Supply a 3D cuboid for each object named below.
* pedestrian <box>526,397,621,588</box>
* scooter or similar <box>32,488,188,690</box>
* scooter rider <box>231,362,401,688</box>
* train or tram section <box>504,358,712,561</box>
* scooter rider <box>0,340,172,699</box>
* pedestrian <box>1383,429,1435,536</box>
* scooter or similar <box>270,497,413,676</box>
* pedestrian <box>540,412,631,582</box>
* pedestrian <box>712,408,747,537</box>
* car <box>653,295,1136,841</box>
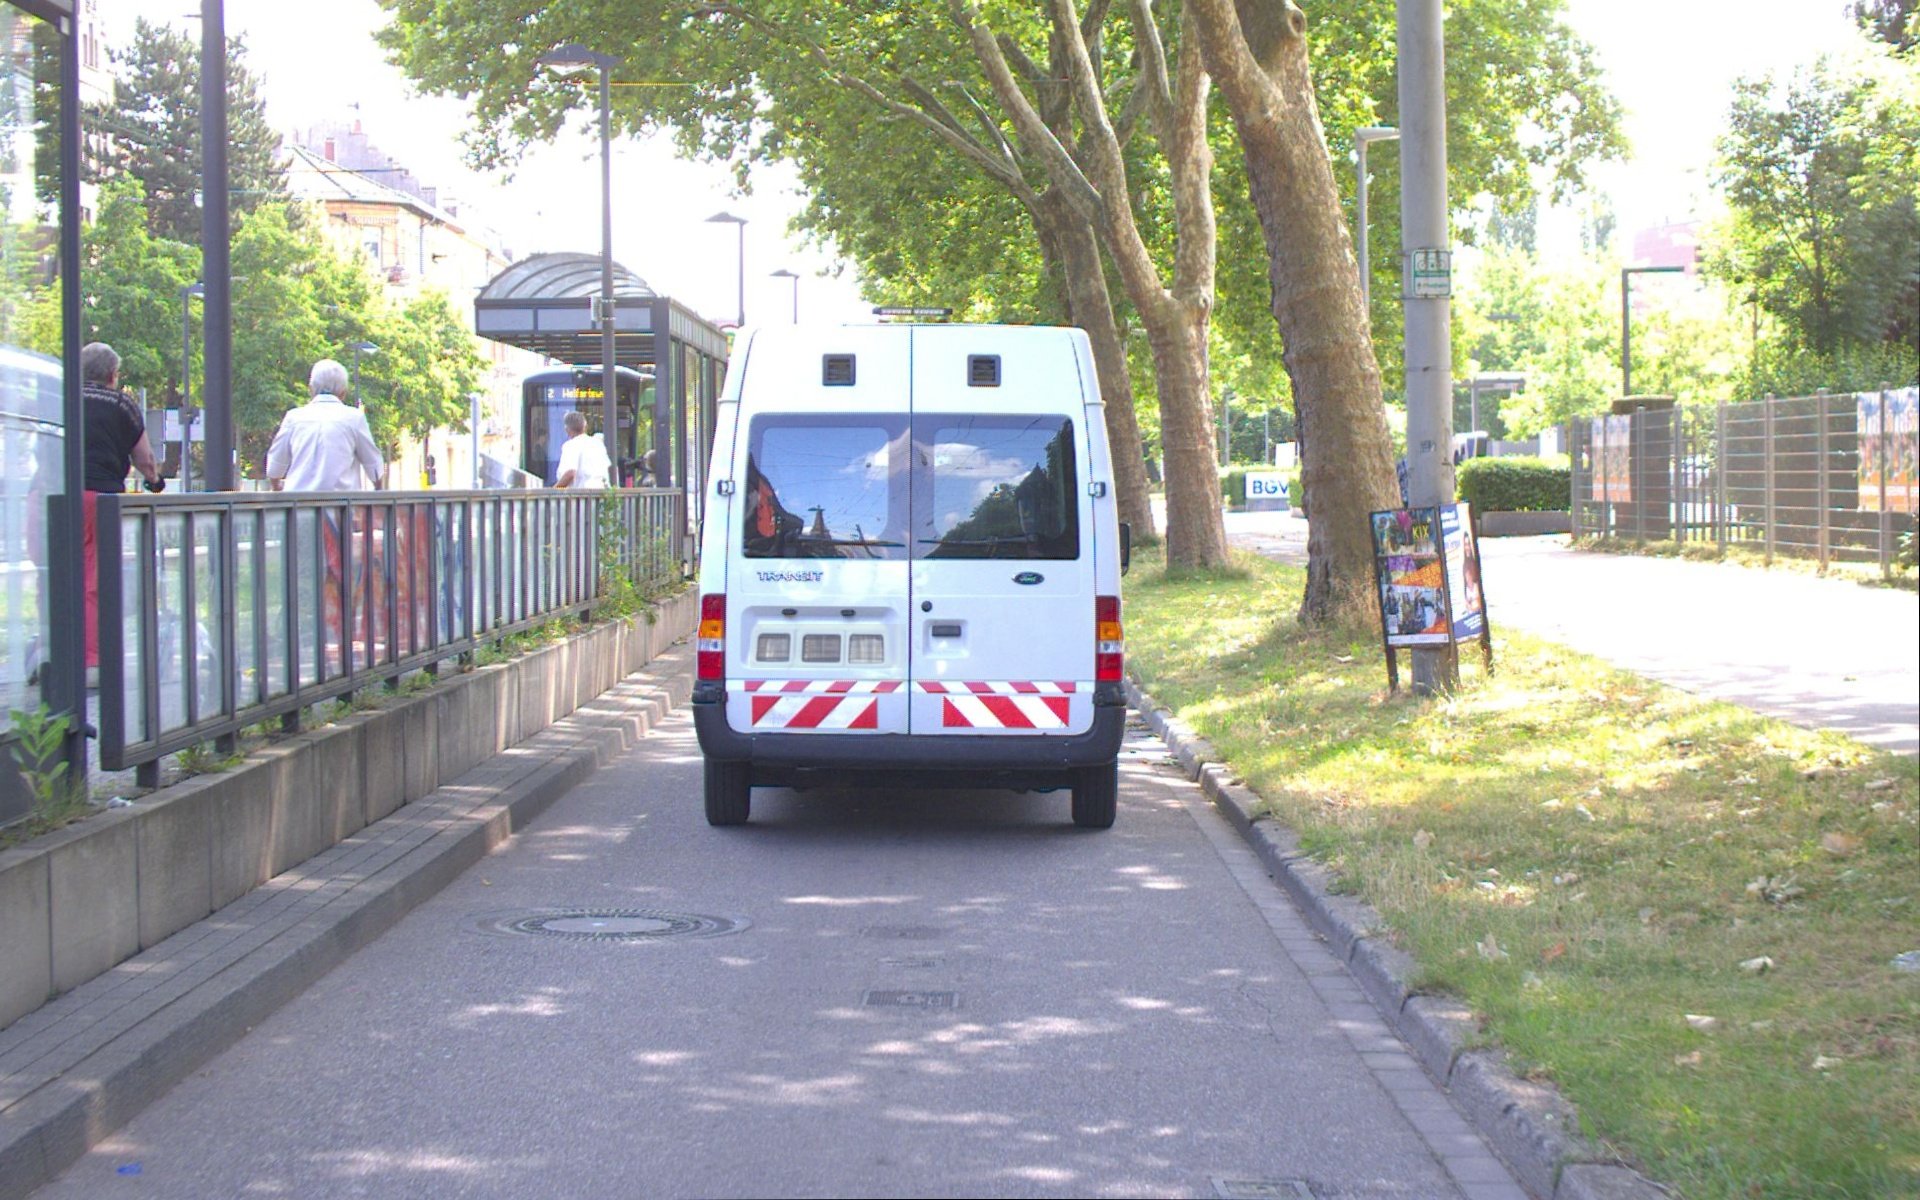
[{"bbox_3d":[-3.107,-0.865,27.656,0.676,1.510,0.596,-1,2,-1],"label":"pedestrian"},{"bbox_3d":[-4.104,-0.059,16.624,0.632,0.952,0.421,-1,2,-1],"label":"scooter or similar"},{"bbox_3d":[-3.187,-0.381,17.085,0.654,1.565,0.901,-1,2,-1],"label":"scooter rider"},{"bbox_3d":[-6.683,-2.731,67.218,2.723,3.571,13.018,0,2,0],"label":"train or tram section"},{"bbox_3d":[-4.097,-0.379,15.932,0.654,1.608,0.901,-1,2,-1],"label":"scooter rider"},{"bbox_3d":[6.872,-1.802,52.599,0.693,1.619,0.637,-1,2,-1],"label":"pedestrian"},{"bbox_3d":[-3.190,-0.074,17.768,0.654,0.904,0.389,-1,2,0],"label":"scooter or similar"},{"bbox_3d":[-3.116,-0.863,28.679,0.676,1.398,0.596,-1,2,-1],"label":"pedestrian"},{"bbox_3d":[-2.856,-1.585,42.625,0.385,1.586,0.439,-1,2,-1],"label":"pedestrian"},{"bbox_3d":[-0.315,-0.244,17.131,2.047,2.325,4.715,-1,3,-1],"label":"car"}]
